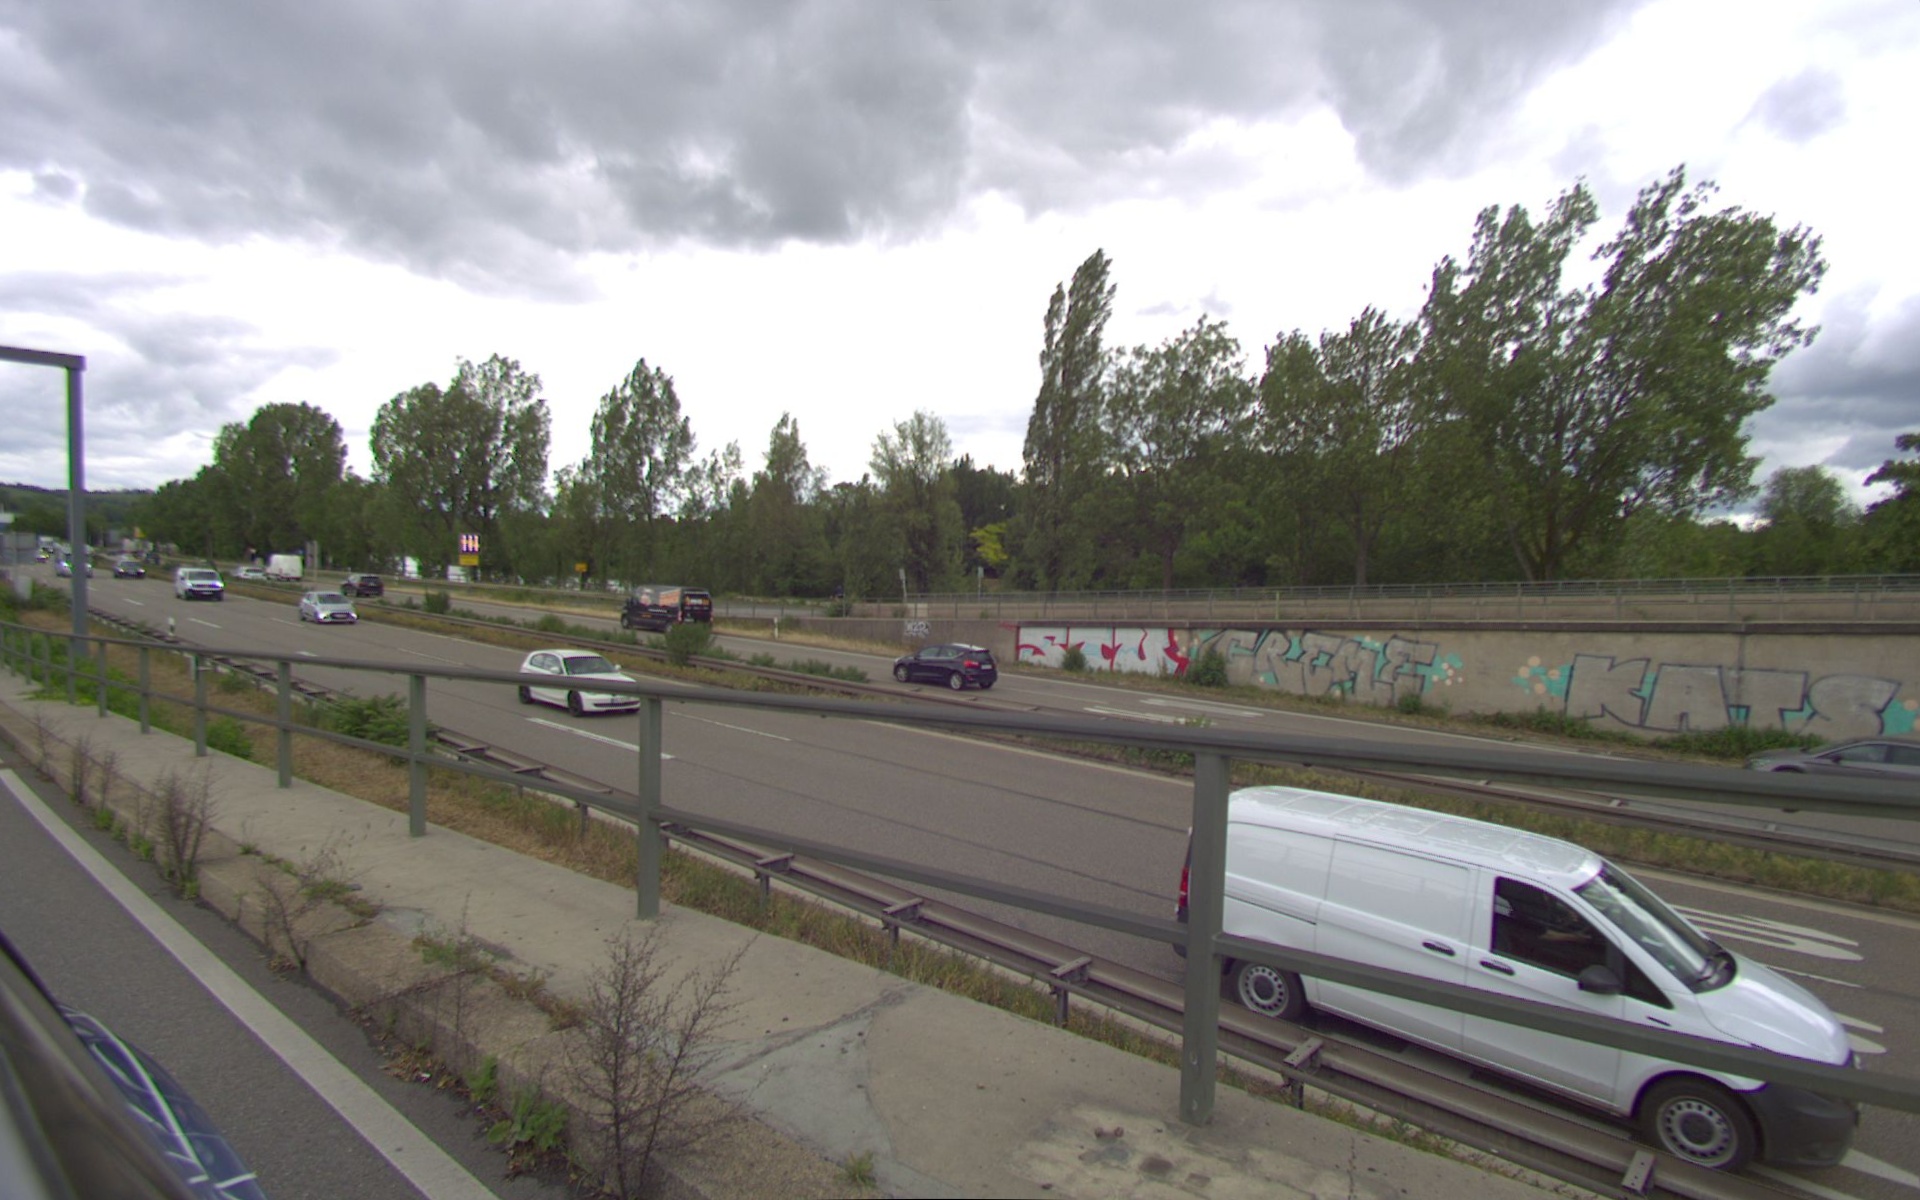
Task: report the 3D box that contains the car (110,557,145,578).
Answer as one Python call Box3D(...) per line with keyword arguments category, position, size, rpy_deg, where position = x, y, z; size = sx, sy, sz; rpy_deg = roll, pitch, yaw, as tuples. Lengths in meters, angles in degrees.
Box3D(category="car", position=(-75.001, -2.953, 91.177), size=(4.278, 1.726, 1.821), rpy_deg=(4, 3, 41))

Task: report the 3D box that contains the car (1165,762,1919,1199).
Box3D(category="car", position=(4.577, 2.861, 8.662), size=(5.197, 1.890, 1.973), rpy_deg=(4, 3, 41))

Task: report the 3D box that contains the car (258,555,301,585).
Box3D(category="car", position=(-68.396, -3.053, 101.652), size=(5.359, 2.800, 2.187), rpy_deg=(4, 2, 41))

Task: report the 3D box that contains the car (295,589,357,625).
Box3D(category="car", position=(-30.963, 0.320, 49.388), size=(3.681, 1.564, 1.540), rpy_deg=(3, 3, 41))

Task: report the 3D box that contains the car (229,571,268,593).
Box3D(category="car", position=(-58.907, -1.488, 83.823), size=(3.930, 1.662, 1.739), rpy_deg=(4, 3, 41))

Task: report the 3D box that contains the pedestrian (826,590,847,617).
Box3D(category="pedestrian", position=(-8.190, 0.220, 66.950), size=(1.077, 1.717, 0.821), rpy_deg=(4, 3, 41))

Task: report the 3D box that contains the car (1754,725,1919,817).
Box3D(category="car", position=(19.244, 3.617, 21.105), size=(4.109, 1.386, 1.693), rpy_deg=(4, 1, 41))

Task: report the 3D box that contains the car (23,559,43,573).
Box3D(category="car", position=(-131.387, -4.785, 143.449), size=(4.281, 1.813, 1.820), rpy_deg=(-1, 0, 44))

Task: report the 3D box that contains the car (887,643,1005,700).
Box3D(category="car", position=(-0.519, 2.368, 34.343), size=(3.857, 1.512, 1.646), rpy_deg=(4, 2, 41))

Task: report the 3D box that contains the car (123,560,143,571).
Box3D(category="car", position=(-127.310, -5.282, 155.776), size=(3.930, 1.662, 1.879), rpy_deg=(2, 2, 41))

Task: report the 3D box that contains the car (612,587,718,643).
Box3D(category="car", position=(-15.389, 0.699, 52.592), size=(6.111, 2.566, 2.221), rpy_deg=(3, 2, 40))

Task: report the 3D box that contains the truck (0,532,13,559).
Box3D(category="truck", position=(-155.051, -8.817, 163.146), size=(6.695, 4.283, 2.723), rpy_deg=(3, 1, 41))

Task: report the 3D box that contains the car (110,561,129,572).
Box3D(category="car", position=(-138.759, -5.494, 167.115), size=(3.930, 1.662, 1.879), rpy_deg=(2, 2, 41))

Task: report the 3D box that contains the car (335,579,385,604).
Box3D(category="car", position=(-44.015, -0.637, 74.248), size=(4.332, 1.662, 1.879), rpy_deg=(4, 1, 41))

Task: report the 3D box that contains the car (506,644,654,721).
Box3D(category="car", position=(-9.724, 2.020, 25.771), size=(4.164, 1.462, 1.724), rpy_deg=(3, 2, 41))

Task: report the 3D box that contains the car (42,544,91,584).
Box3D(category="car", position=(-79.457, -3.200, 89.933), size=(7.659, 3.264, 2.336), rpy_deg=(4, 3, 42))

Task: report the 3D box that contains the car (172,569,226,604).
Box3D(category="car", position=(-47.330, -0.869, 62.927), size=(4.898, 1.949, 1.928), rpy_deg=(4, 3, 44))

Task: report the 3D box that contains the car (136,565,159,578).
Box3D(category="car", position=(-116.088, -4.076, 144.586), size=(3.930, 1.662, 1.879), rpy_deg=(2, 2, 41))
